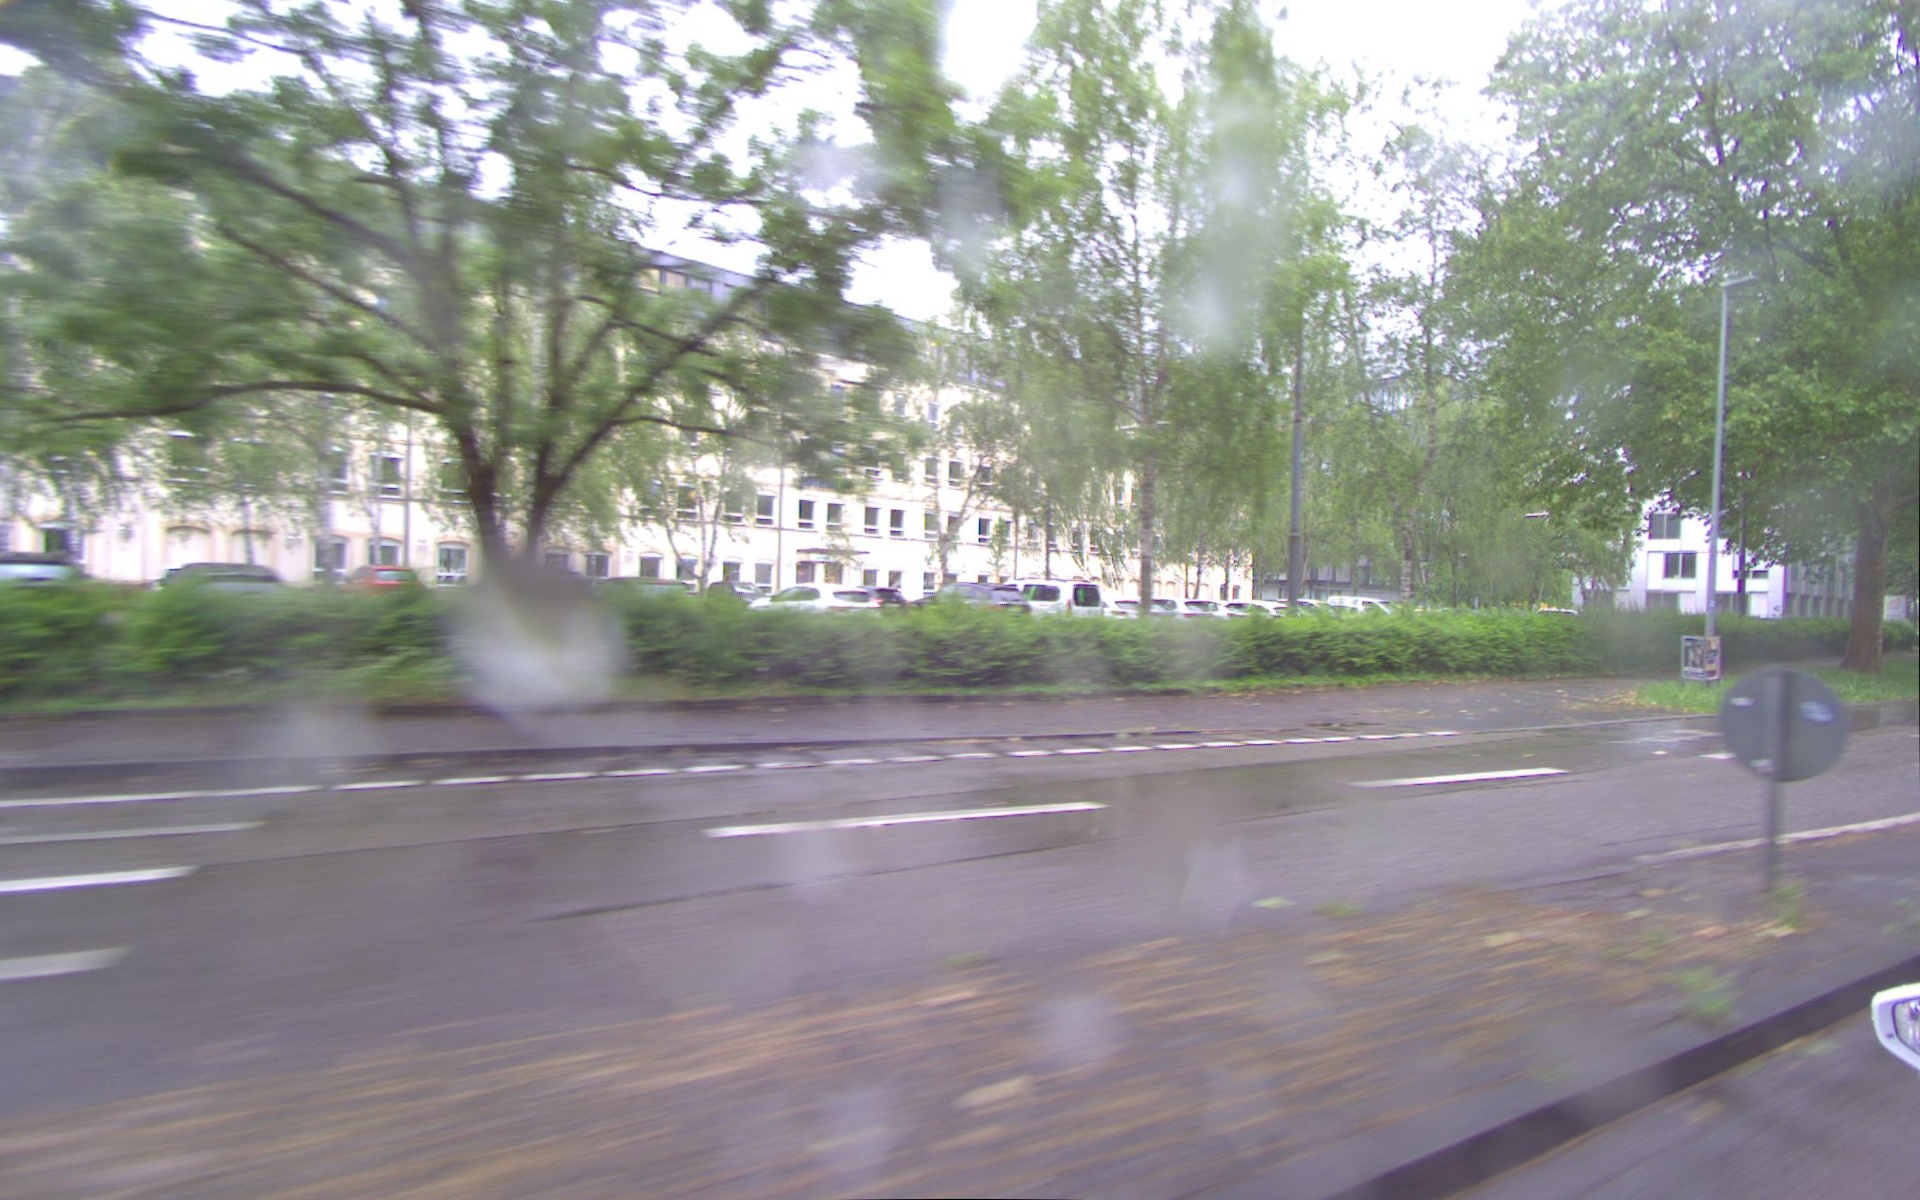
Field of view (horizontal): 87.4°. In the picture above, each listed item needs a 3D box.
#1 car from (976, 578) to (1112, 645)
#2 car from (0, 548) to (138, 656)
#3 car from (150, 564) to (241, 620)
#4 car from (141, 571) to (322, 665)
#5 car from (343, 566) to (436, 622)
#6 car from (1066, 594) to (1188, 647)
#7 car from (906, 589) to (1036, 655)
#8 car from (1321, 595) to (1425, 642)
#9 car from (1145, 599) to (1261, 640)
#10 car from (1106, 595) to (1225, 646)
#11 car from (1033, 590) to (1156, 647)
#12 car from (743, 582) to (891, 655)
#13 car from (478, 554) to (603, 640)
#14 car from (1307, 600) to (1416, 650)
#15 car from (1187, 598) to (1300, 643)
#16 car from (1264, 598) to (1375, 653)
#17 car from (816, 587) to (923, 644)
[{"bbox_3d":[2.528,0.320,30.954,1.840,1.857,3.951,1,1,-42],"label":"car"},{"bbox_3d":[-15.064,-0.041,16.208,1.899,1.558,3.972,2,1,-26],"label":"car"},{"bbox_3d":[-23.199,-0.235,30.443,1.984,1.539,3.953,1,0,-40],"label":"car"},{"bbox_3d":[-12.625,0.252,17.672,1.899,1.442,3.972,2,1,-26],"label":"car"},{"bbox_3d":[-18.916,-0.200,33.236,1.984,1.708,3.954,1,0,-40],"label":"car"},{"bbox_3d":[5.741,0.679,34.937,1.838,1.620,3.956,1,1,-38],"label":"car"},{"bbox_3d":[0.248,0.596,29.320,1.694,1.660,3.956,1,1,-38],"label":"car"},{"bbox_3d":[18.916,0.801,46.166,1.982,2.040,3.957,1,0,-37],"label":"car"},{"bbox_3d":[9.068,0.718,37.704,1.867,1.392,3.960,2,0,-36],"label":"car"},{"bbox_3d":[7.374,0.699,36.355,1.838,1.620,3.956,1,1,-38],"label":"car"},{"bbox_3d":[4.324,0.563,32.746,1.705,1.620,3.772,1,1,-41],"label":"car"},{"bbox_3d":[-3.810,0.434,26.313,1.985,1.660,3.950,1,1,-42],"label":"car"},{"bbox_3d":[-8.903,-0.114,21.140,1.634,1.633,3.961,1,1,-34],"label":"car"},{"bbox_3d":[17.519,1.044,43.967,1.982,2.040,3.957,1,0,-37],"label":"car"},{"bbox_3d":[11.081,0.773,39.483,1.867,1.571,3.959,2,1,-36],"label":"car"},{"bbox_3d":[15.030,1.037,42.187,1.982,2.161,3.958,1,0,-37],"label":"car"},{"bbox_3d":[-3.088,0.484,33.619,1.694,1.683,3.956,1,1,-38],"label":"car"}]
